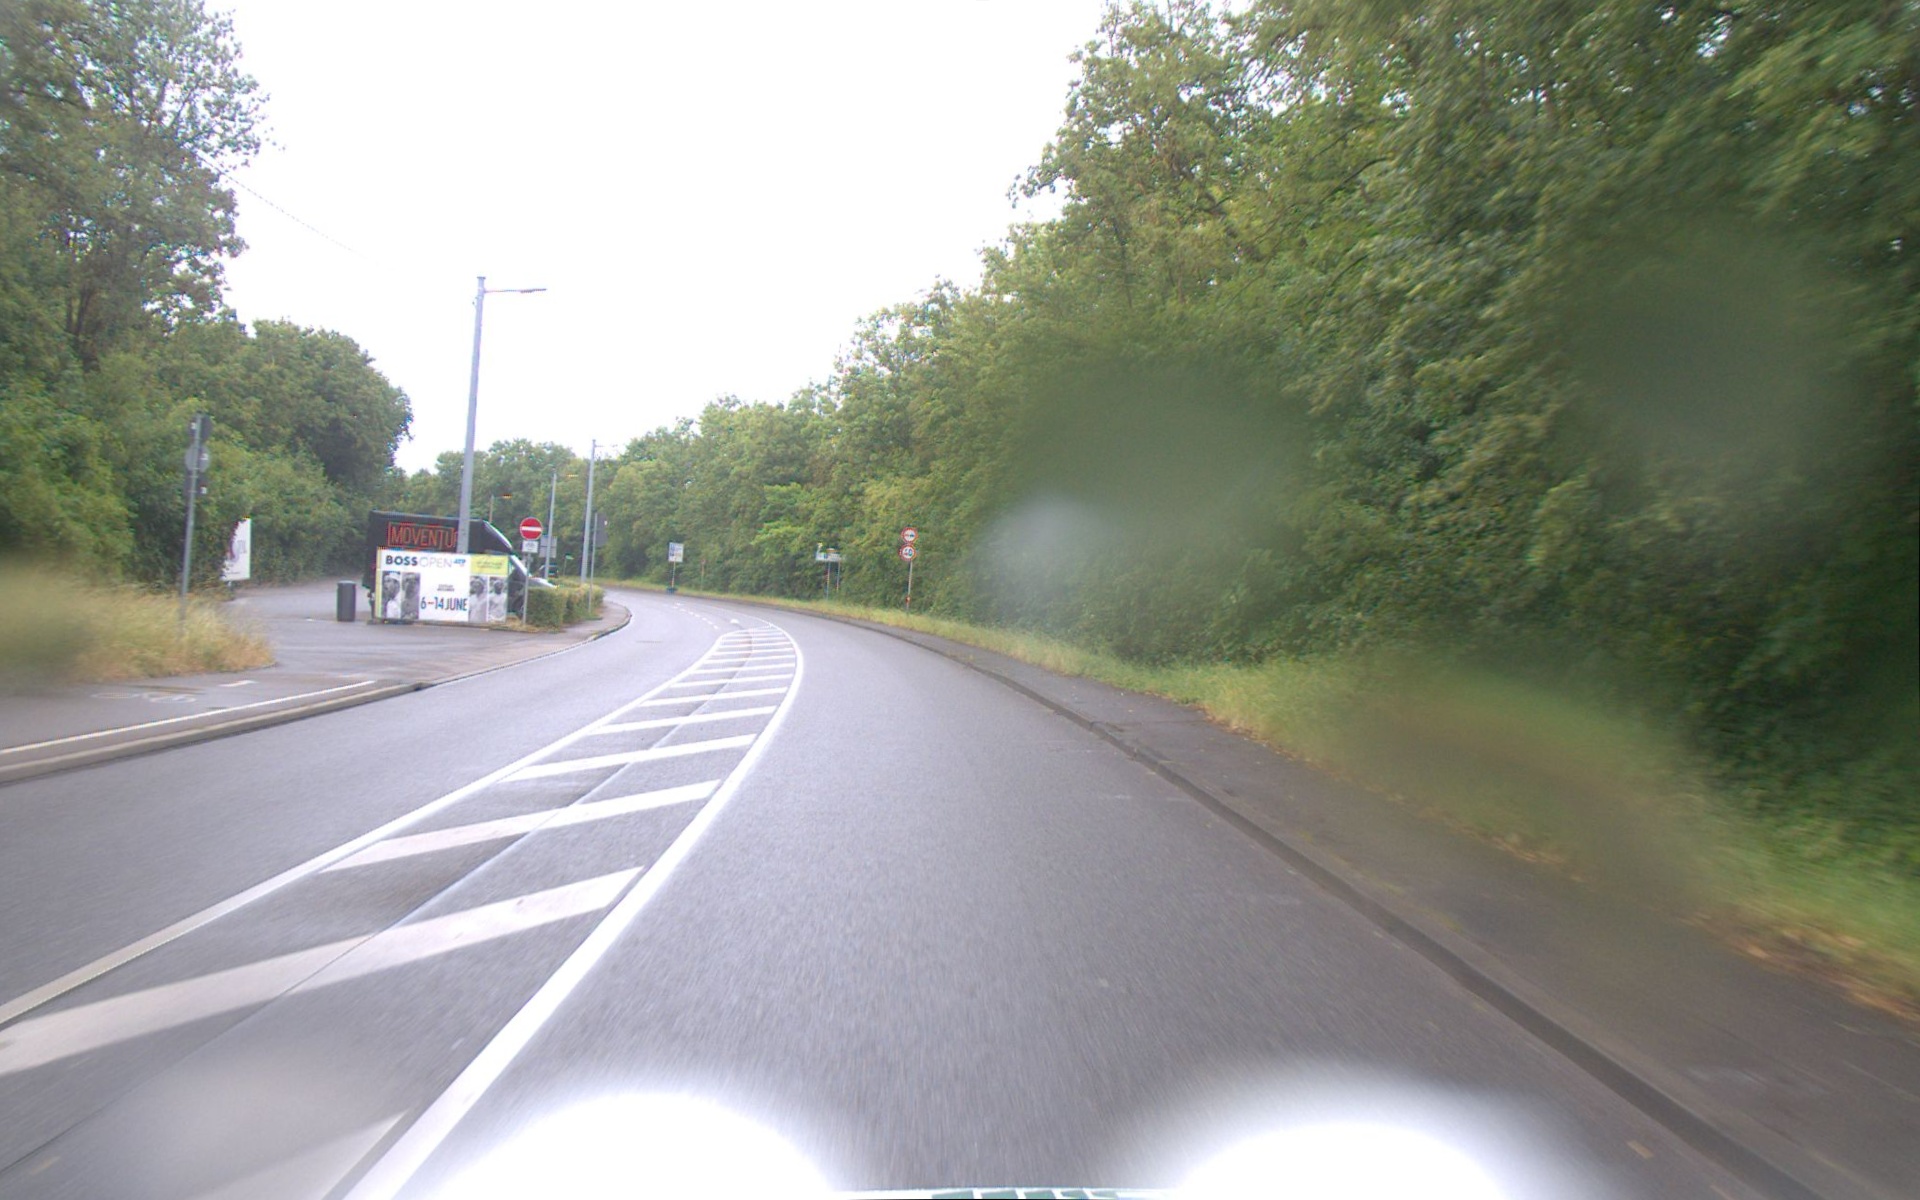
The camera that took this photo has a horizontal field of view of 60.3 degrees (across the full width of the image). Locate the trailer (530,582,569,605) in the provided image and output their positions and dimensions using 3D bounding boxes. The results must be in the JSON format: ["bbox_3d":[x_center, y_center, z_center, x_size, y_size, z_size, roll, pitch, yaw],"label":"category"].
[{"bbox_3d":[-20.065,-0.328,80.794,1.772,1.052,1.328,2,0,-17],"label":"trailer"}]

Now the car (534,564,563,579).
[{"bbox_3d":[-44.848,-3.133,180.378,1.915,1.524,4.275,2,1,-30],"label":"car"}]

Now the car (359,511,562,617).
[{"bbox_3d":[-16.473,-1.132,54.957,6.164,3.168,2.743,2,-1,-13],"label":"car"}]

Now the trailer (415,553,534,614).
[{"bbox_3d":[-17.636,-0.591,60.263,3.914,2.088,1.868,2,0,-10],"label":"trailer"}]

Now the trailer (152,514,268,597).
[{"bbox_3d":[-28.694,-1.642,63.627,2.433,2.924,7.951,2,0,-13],"label":"trailer"}]
